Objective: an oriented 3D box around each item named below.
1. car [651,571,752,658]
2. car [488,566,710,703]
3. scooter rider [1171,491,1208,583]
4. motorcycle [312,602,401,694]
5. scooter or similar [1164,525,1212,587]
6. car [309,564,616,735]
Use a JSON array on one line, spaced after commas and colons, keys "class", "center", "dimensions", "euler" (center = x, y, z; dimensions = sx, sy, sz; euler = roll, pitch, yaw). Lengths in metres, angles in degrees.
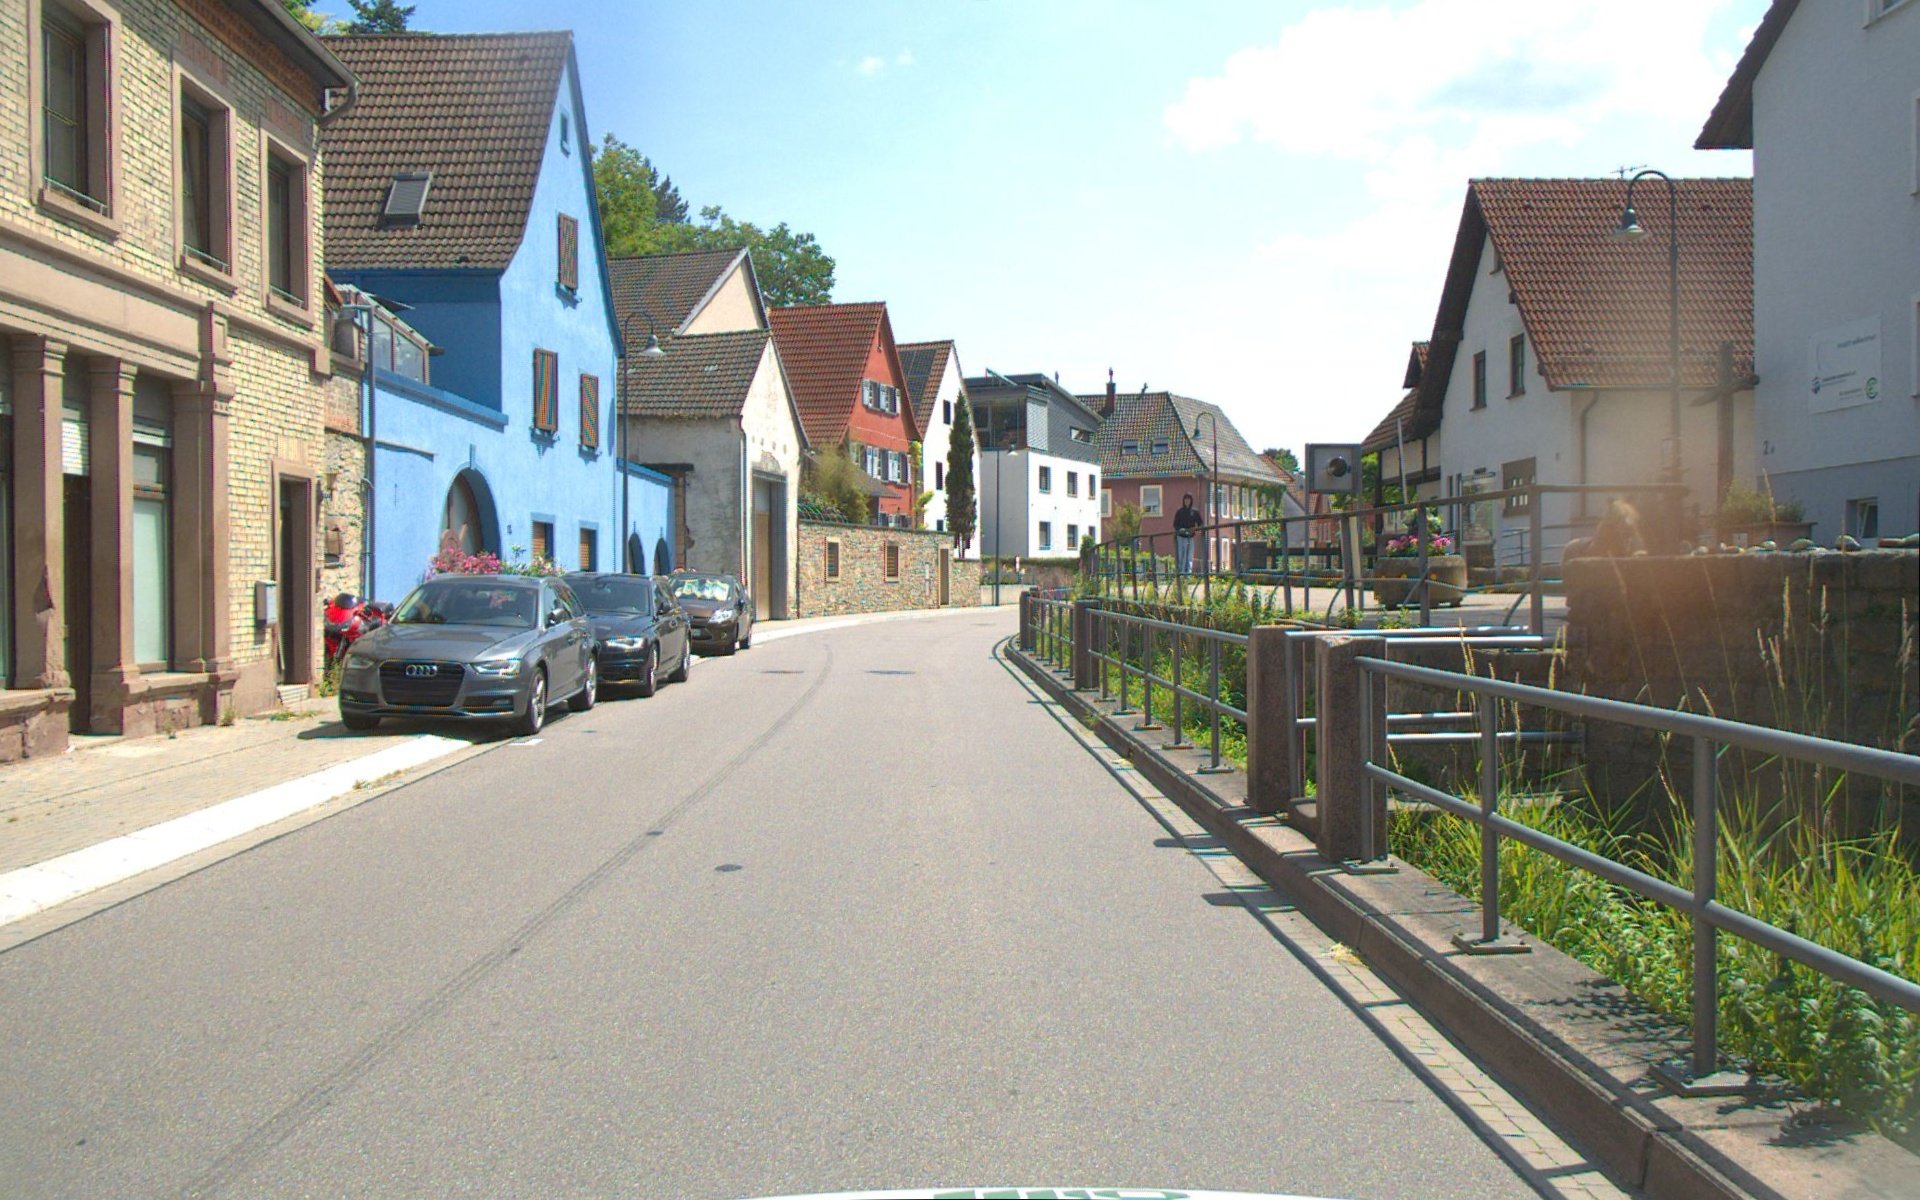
[{"class": "car", "center": [-4.932, 0.229, 31.995], "dimensions": [1.684, 1.556, 3.852], "euler": [-1, 1, -6]}, {"class": "car", "center": [-4.580, 0.358, 21.706], "dimensions": [1.847, 1.489, 4.668], "euler": [3, 1, -1]}, {"class": "scooter rider", "center": [4.457, -1.211, 32.098], "dimensions": [0.628, 1.762, 0.554], "euler": [0, 0, -1]}, {"class": "motorcycle", "center": [-7.226, 0.548, 19.865], "dimensions": [0.409, 1.018, 1.857], "euler": [4, 0, -3]}, {"class": "scooter or similar", "center": [4.433, -0.845, 32.293], "dimensions": [0.628, 1.162, 1.811], "euler": [-1, 0, -1]}, {"class": "car", "center": [-4.831, 0.435, 16.765], "dimensions": [1.917, 1.491, 4.543], "euler": [0, 0, -3]}]
